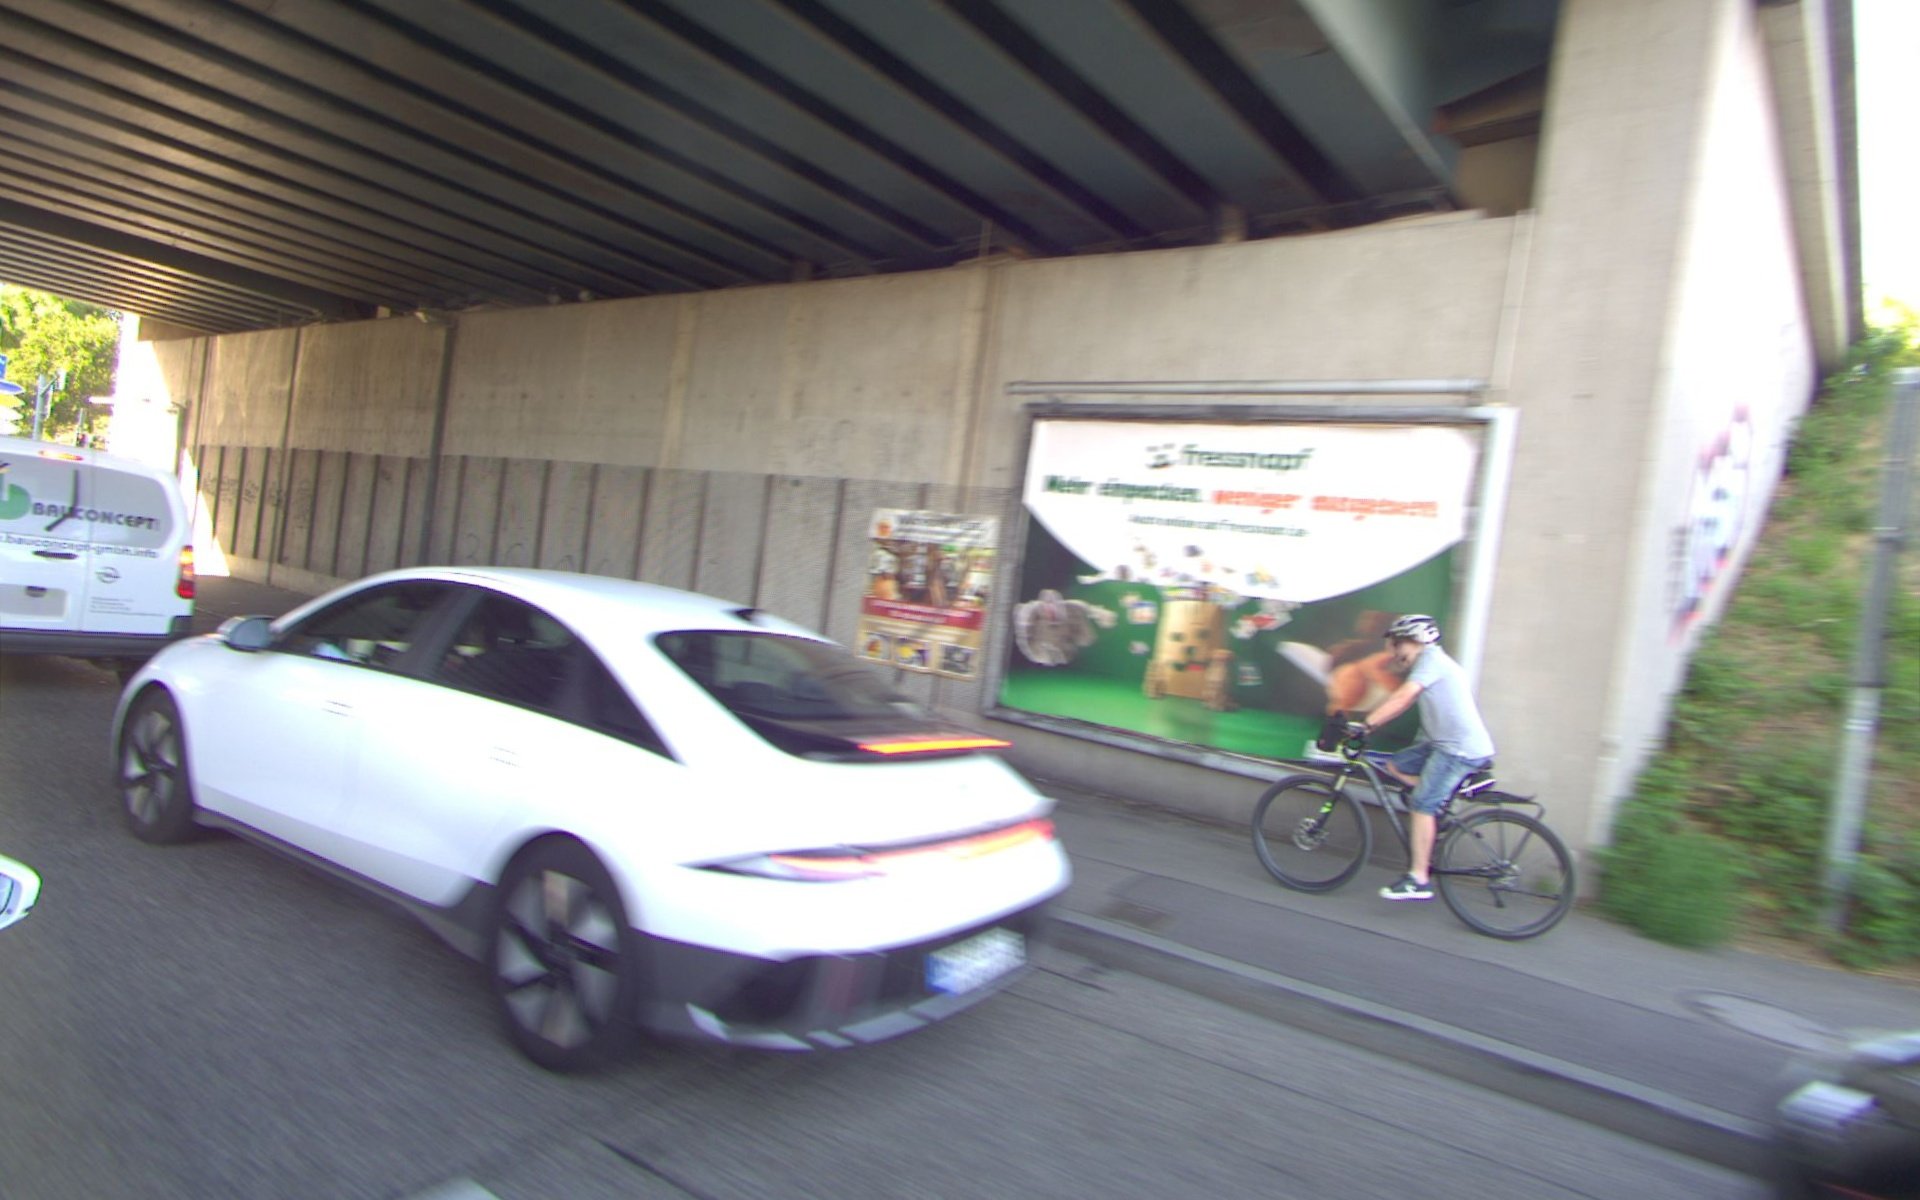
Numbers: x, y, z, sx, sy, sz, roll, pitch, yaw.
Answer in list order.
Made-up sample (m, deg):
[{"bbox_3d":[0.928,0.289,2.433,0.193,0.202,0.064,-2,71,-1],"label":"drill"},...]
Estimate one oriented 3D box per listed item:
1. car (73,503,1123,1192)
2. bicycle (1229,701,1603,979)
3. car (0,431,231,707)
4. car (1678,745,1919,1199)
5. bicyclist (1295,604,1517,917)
[{"bbox_3d":[-1.827,0.585,4.449,4.586,1.473,1.749,7,-1,31],"label":"car"},{"bbox_3d":[2.548,1.257,5.719,1.733,1.071,0.701,8,2,35],"label":"bicycle"},{"bbox_3d":[-8.078,-0.394,8.260,4.230,1.855,1.816,7,-1,33],"label":"car"},{"bbox_3d":[3.495,1.306,1.529,3.655,1.473,1.748,7,-1,32],"label":"car"},{"bbox_3d":[2.542,0.850,5.732,0.895,1.544,0.695,7,2,35],"label":"bicyclist"}]
